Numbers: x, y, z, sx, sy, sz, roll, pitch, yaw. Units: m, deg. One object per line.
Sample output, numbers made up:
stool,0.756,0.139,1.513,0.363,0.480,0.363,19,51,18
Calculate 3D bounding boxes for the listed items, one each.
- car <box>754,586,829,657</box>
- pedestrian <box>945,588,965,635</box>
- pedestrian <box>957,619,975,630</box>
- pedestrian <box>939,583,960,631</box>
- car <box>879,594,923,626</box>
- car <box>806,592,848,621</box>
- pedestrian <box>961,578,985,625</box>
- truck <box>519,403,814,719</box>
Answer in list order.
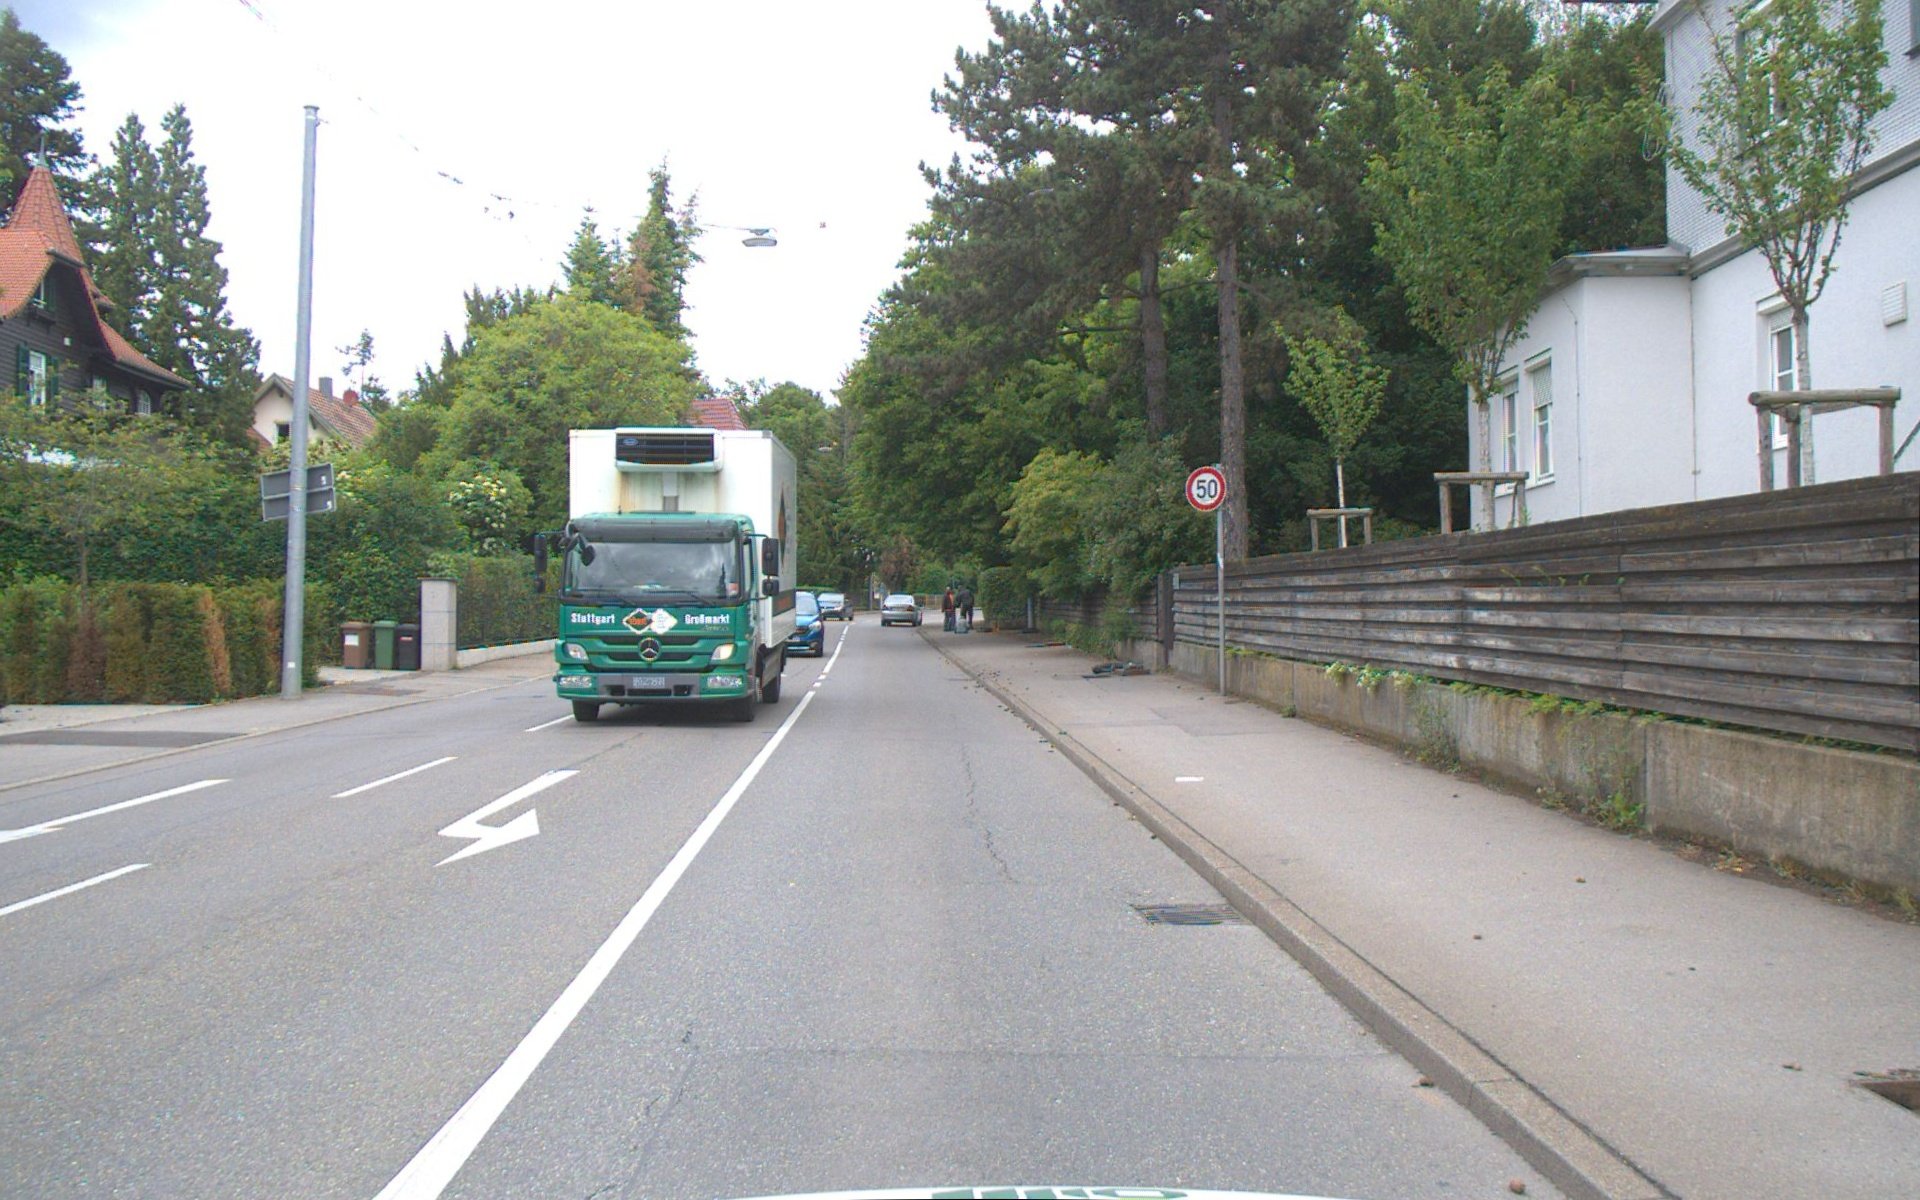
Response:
car,-4.517,0.536,43.874,1.772,1.747,4.370,-1,0,-8
pedestrian,-0.181,0.455,65.355,0.590,1.839,0.516,0,0,37
pedestrian,0.224,0.909,62.174,0.659,0.400,0.740,0,0,-4
pedestrian,-0.414,0.267,64.265,0.791,1.839,0.740,0,0,-4
car,-2.754,0.500,77.987,1.760,1.440,4.336,1,-1,2
car,-6.866,0.330,85.743,1.645,1.497,4.019,0,0,4
pedestrian,0.510,0.043,65.514,0.686,1.839,0.662,0,0,-44
truck,-3.615,-0.371,22.271,2.721,3.522,7.491,0,-1,-1
